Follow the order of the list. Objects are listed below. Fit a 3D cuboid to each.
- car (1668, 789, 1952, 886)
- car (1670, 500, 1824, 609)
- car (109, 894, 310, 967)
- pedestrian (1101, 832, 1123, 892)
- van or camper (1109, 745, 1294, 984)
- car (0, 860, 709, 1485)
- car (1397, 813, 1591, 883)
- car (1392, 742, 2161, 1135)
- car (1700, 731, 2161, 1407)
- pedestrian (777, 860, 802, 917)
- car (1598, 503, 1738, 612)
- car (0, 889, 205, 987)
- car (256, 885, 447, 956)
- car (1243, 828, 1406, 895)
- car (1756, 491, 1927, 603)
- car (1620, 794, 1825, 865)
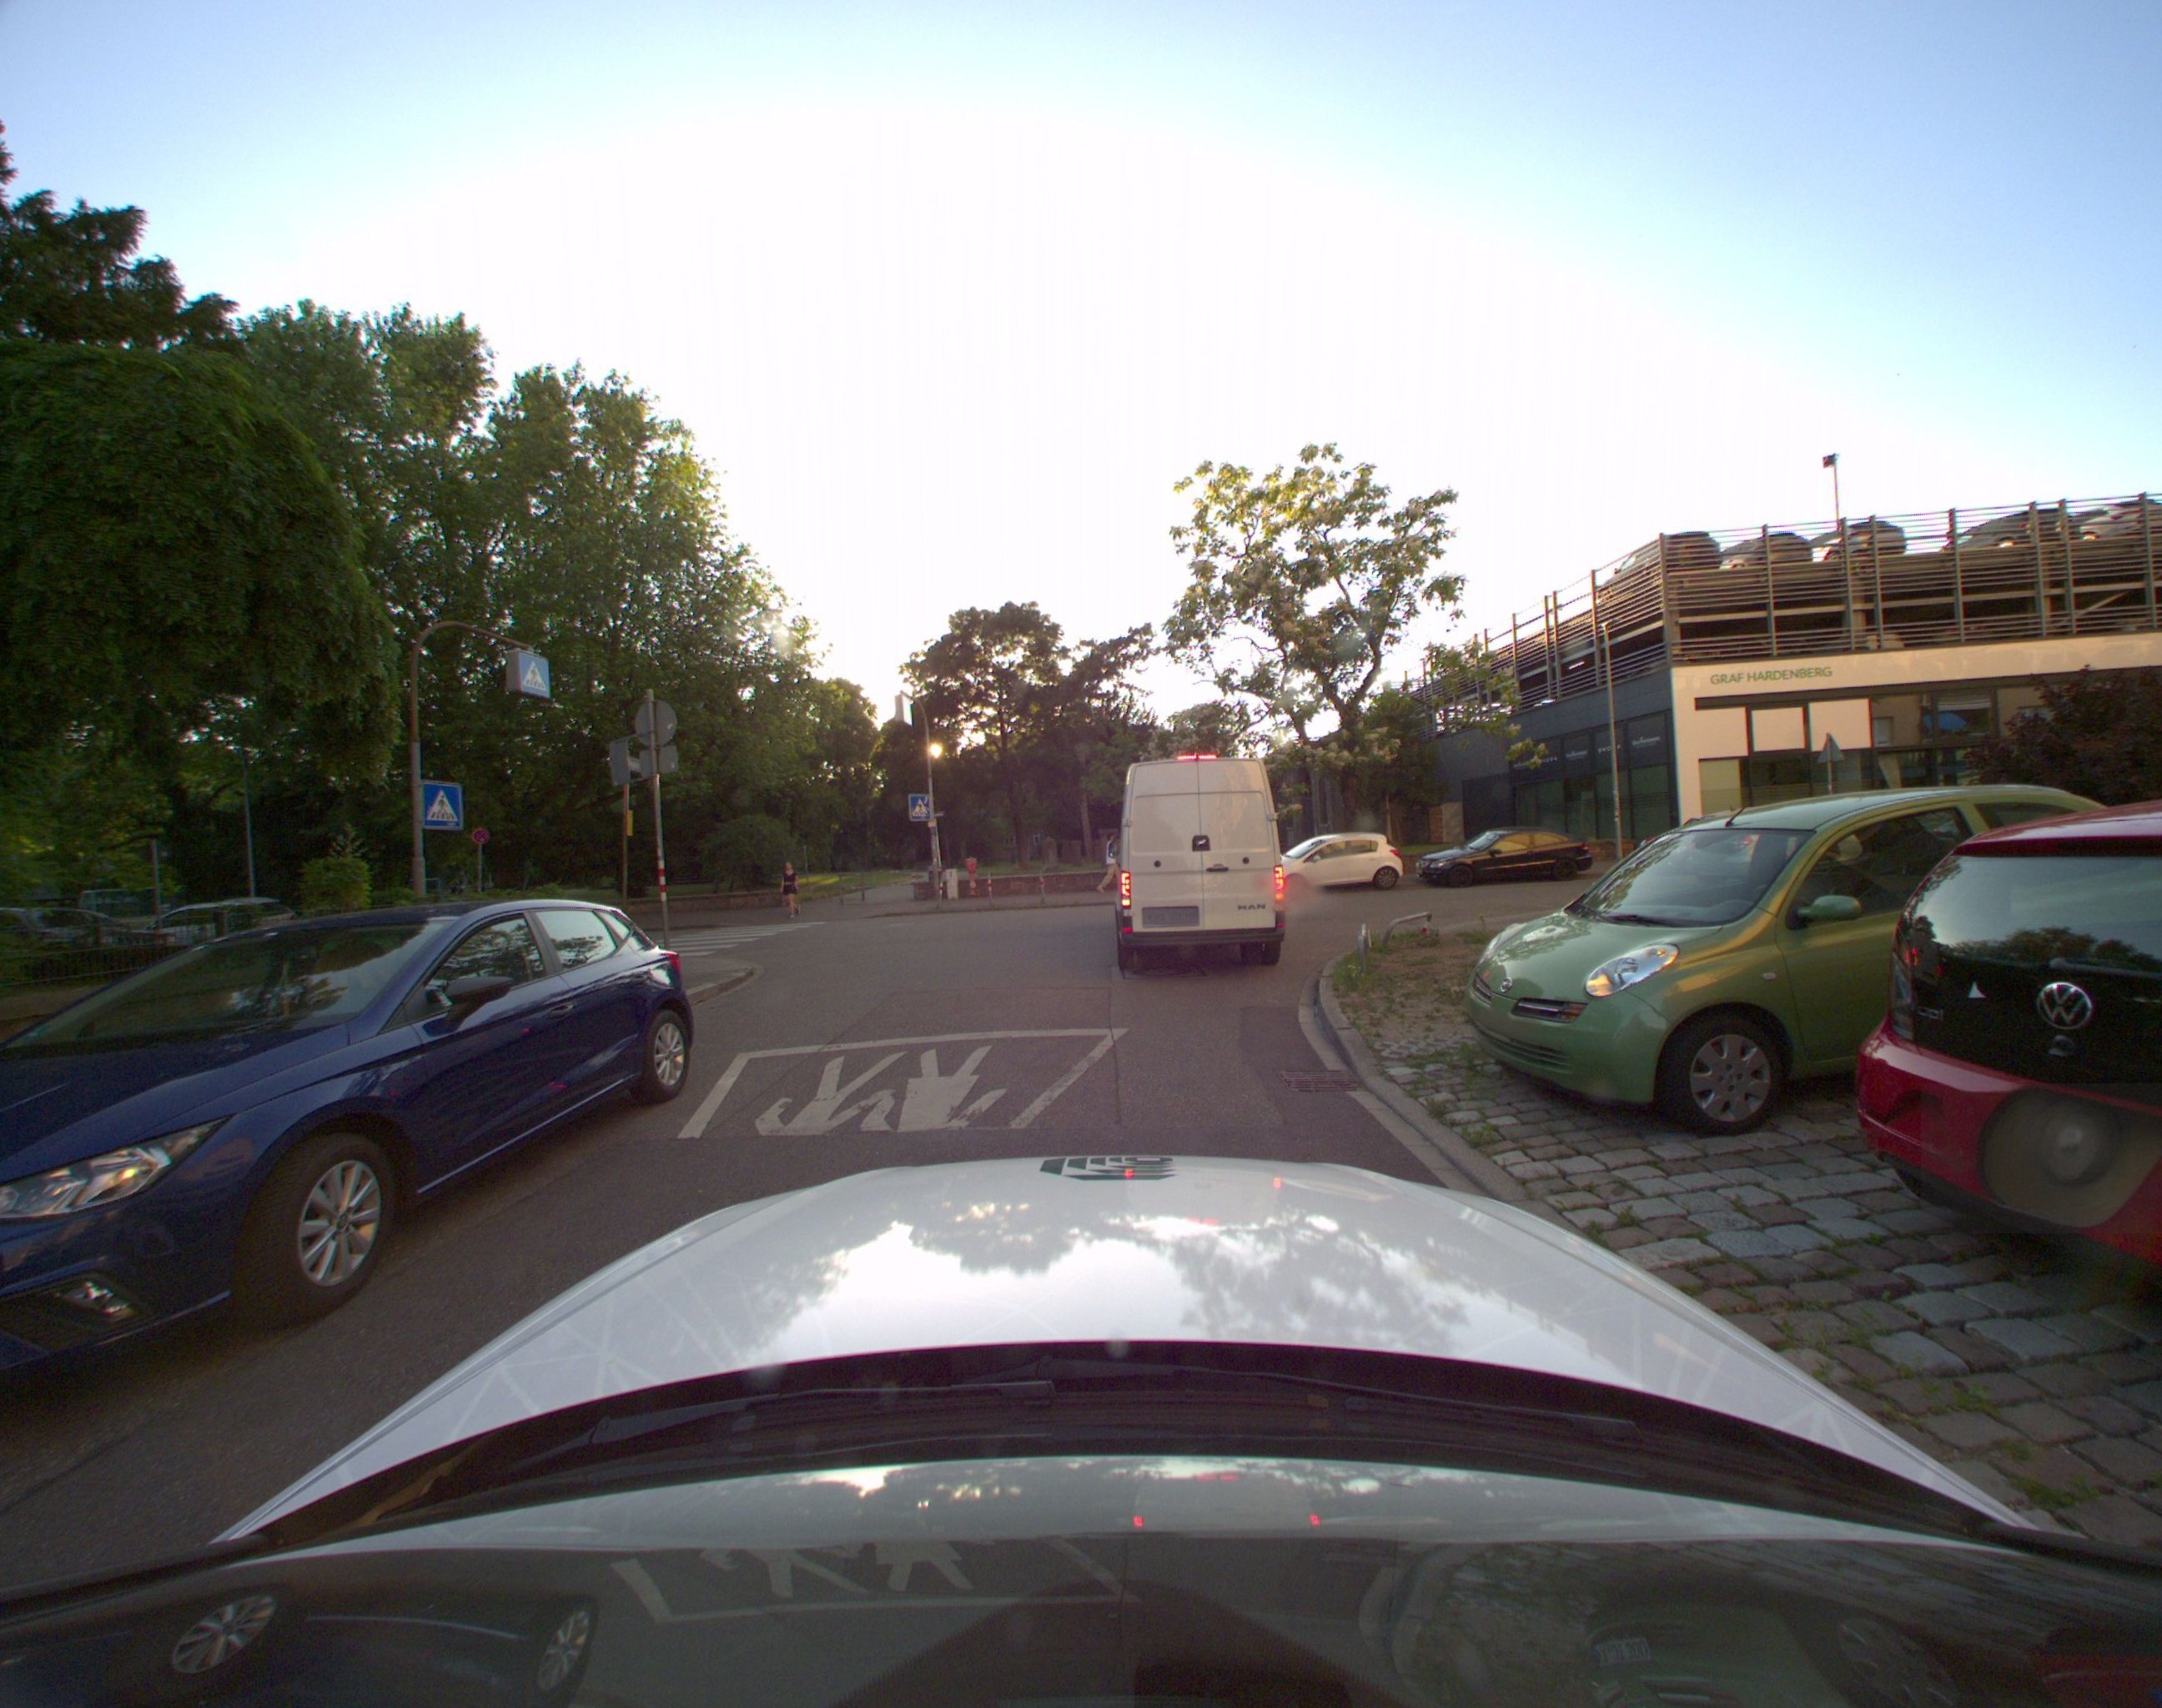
[{"bbox_3d":[14.249,-0.315,16.121,3.819,1.523,1.826,-4,0,4],"label":"car"},{"bbox_3d":[21.773,-9.735,26.862,1.984,2.013,4.006,-2,0,6],"label":"car"},{"bbox_3d":[-25.671,2.229,24.085,3.852,1.562,1.826,-4,6,3],"label":"car"},{"bbox_3d":[0.953,0.247,24.960,0.591,1.809,0.621,-2,0,2],"label":"pedestrian"},{"bbox_3d":[1.469,0.095,12.351,1.986,2.618,6.406,-2,0,2],"label":"van or camper"},{"bbox_3d":[-3.543,0.901,3.973,1.729,1.567,3.787,-5,0,-3],"label":"car"},{"bbox_3d":[11.084,-0.166,22.124,4.273,1.503,1.825,-4,0,4],"label":"car"},{"bbox_3d":[4.454,0.362,4.866,4.392,1.631,1.844,-5,-2,-2],"label":"car"},{"bbox_3d":[4.757,0.274,2.327,4.386,1.631,1.847,-7,0,2],"label":"car"},{"bbox_3d":[-8.684,1.001,24.257,0.648,1.648,0.670,-2,0,-18],"label":"pedestrian"},{"bbox_3d":[19.208,-9.656,26.902,1.984,2.013,4.006,-2,0,6],"label":"car"},{"bbox_3d":[-21.476,1.787,17.109,4.212,1.799,1.824,-4,-3,2],"label":"car"},{"bbox_3d":[-20.967,1.903,23.503,3.832,1.491,1.828,-4,6,7],"label":"car"},{"bbox_3d":[6.645,0.183,22.522,3.844,1.574,1.957,-3,0,-2],"label":"car"},{"bbox_3d":[24.498,-9.846,26.466,1.984,2.013,4.006,-2,0,6],"label":"car"},{"bbox_3d":[16.822,-0.614,21.521,3.819,1.503,1.826,-4,0,4],"label":"car"}]
